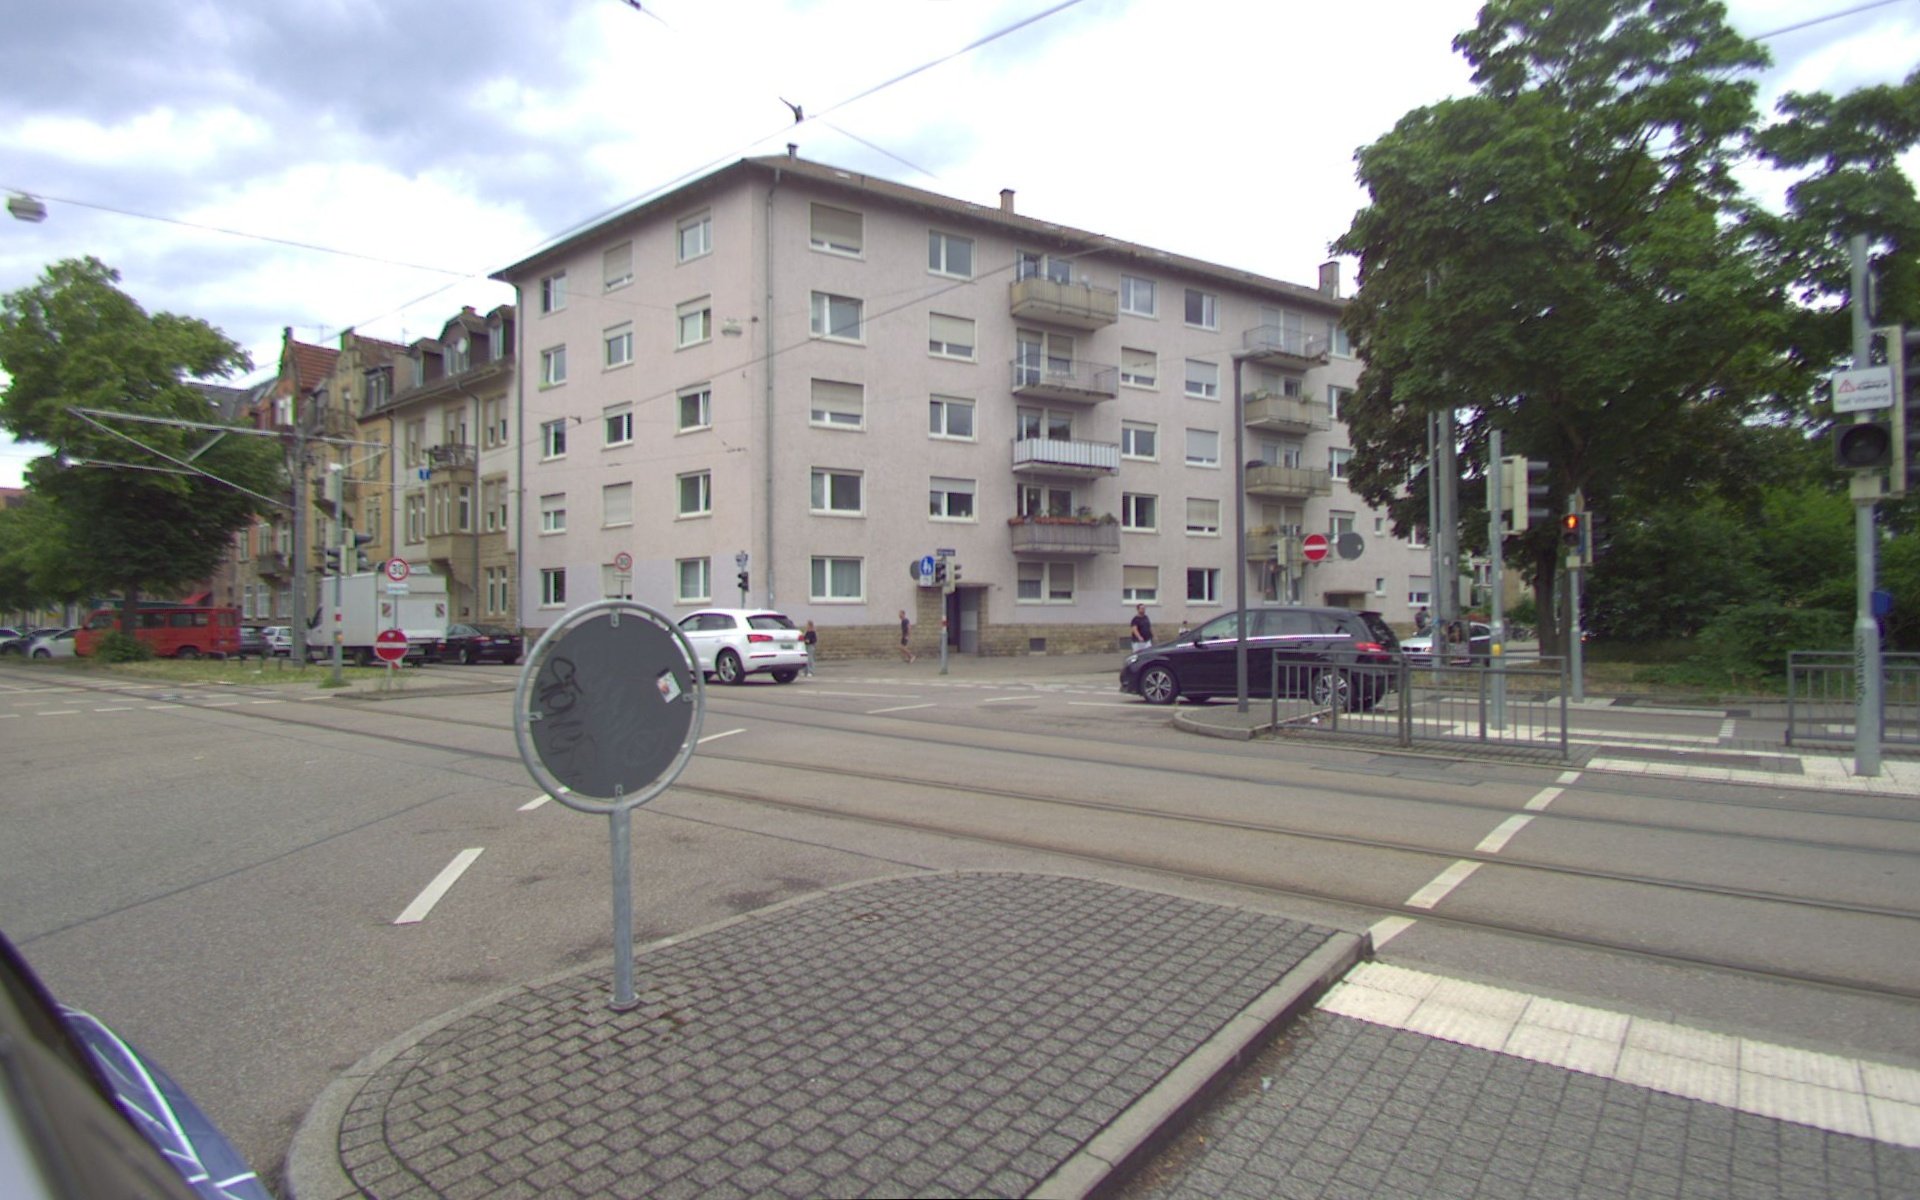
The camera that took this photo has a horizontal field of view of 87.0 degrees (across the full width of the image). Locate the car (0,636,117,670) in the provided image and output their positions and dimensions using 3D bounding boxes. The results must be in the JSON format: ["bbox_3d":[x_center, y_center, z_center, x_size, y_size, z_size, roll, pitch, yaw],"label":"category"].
[{"bbox_3d":[-41.219,2.372,45.889,4.271,1.446,1.902,-1,-2,-9],"label":"car"}]

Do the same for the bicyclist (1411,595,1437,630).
[{"bbox_3d":[20.996,0.577,45.767,0.846,1.576,0.660,0,-2,-31],"label":"bicyclist"}]

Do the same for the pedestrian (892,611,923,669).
[{"bbox_3d":[-1.683,1.282,32.513,0.710,1.827,0.685,1,-2,-35],"label":"pedestrian"}]

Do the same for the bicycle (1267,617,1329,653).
[{"bbox_3d":[14.715,1.508,44.029,2.846,1.477,0.885,0,-2,-30],"label":"bicycle"}]

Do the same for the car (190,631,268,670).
[{"bbox_3d":[-31.487,2.144,43.571,4.126,1.546,1.628,-2,-2,38],"label":"car"}]

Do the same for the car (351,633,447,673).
[{"bbox_3d":[-21.993,2.054,39.621,4.563,1.454,1.619,-2,-2,38],"label":"car"}]

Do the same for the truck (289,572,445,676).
[{"bbox_3d":[-20.136,0.834,34.169,7.324,3.181,2.163,-2,-2,40],"label":"truck"}]

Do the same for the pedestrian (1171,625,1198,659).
[{"bbox_3d":[8.619,1.596,38.821,0.719,1.298,0.692,1,-2,-35],"label":"pedestrian"}]

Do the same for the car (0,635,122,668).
[{"bbox_3d":[-43.599,2.465,48.735,4.611,1.446,1.903,-1,-2,-12],"label":"car"}]

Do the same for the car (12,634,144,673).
[{"bbox_3d":[-36.412,2.196,41.885,3.801,1.474,1.693,-1,-2,-9],"label":"car"}]

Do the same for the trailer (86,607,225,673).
[{"bbox_3d":[-29.901,1.461,37.756,3.608,2.362,1.937,0,-2,-18],"label":"trailer"}]

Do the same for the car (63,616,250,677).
[{"bbox_3d":[-27.760,1.593,35.140,4.689,1.989,1.964,0,-2,-13],"label":"car"}]

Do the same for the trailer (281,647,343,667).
[{"bbox_3d":[-29.603,2.596,46.226,3.072,0.899,1.440,-2,-4,38],"label":"trailer"}]

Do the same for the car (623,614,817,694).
[{"bbox_3d":[-5.506,1.175,22.945,4.527,1.651,1.755,-1,-2,35],"label":"car"}]

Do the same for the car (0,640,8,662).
[{"bbox_3d":[-63.596,3.302,64.095,4.594,1.378,1.761,-1,-1,-8],"label":"car"}]

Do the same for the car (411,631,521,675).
[{"bbox_3d":[-17.740,1.885,36.235,4.755,1.454,1.619,-2,-2,38],"label":"car"}]

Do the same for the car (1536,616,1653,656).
[{"bbox_3d":[23.255,1.296,37.066,3.968,1.364,2.006,0,-2,-31],"label":"car"}]

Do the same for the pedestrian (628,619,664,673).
[{"bbox_3d":[-10.509,1.525,33.839,0.899,1.780,0.790,-2,-2,38],"label":"pedestrian"}]

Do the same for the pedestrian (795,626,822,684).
[{"bbox_3d":[-4.163,1.497,27.808,0.565,1.569,0.531,-1,-2,12],"label":"pedestrian"}]

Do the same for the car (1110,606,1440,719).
[{"bbox_3d":[4.742,0.887,15.554,4.527,1.504,1.754,-1,-2,36],"label":"car"}]

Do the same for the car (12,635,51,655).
[{"bbox_3d":[-78.877,3.811,85.966,4.267,1.692,1.787,-2,-2,38],"label":"car"}]

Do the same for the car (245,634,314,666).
[{"bbox_3d":[-33.152,2.431,49.280,3.917,1.454,1.619,-2,-2,38],"label":"car"}]

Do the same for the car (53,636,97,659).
[{"bbox_3d":[-66.446,3.547,75.938,4.315,1.641,1.751,-2,-2,38],"label":"car"}]

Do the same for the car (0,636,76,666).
[{"bbox_3d":[-49.501,2.678,53.318,4.051,1.495,1.801,-1,-1,-10],"label":"car"}]

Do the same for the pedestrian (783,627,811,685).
[{"bbox_3d":[-4.483,1.528,27.802,0.561,1.569,0.534,1,-3,-40],"label":"pedestrian"}]

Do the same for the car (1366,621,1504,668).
[{"bbox_3d":[14.829,1.347,31.583,3.968,1.364,2.006,0,-2,-31],"label":"car"}]

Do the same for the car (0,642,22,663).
[{"bbox_3d":[-58.132,3.112,59.658,3.900,1.211,1.671,-1,-1,-7],"label":"car"}]

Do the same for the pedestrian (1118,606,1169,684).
[{"bbox_3d":[4.505,1.096,24.908,0.822,1.889,1.048,0,-2,-15],"label":"pedestrian"}]
